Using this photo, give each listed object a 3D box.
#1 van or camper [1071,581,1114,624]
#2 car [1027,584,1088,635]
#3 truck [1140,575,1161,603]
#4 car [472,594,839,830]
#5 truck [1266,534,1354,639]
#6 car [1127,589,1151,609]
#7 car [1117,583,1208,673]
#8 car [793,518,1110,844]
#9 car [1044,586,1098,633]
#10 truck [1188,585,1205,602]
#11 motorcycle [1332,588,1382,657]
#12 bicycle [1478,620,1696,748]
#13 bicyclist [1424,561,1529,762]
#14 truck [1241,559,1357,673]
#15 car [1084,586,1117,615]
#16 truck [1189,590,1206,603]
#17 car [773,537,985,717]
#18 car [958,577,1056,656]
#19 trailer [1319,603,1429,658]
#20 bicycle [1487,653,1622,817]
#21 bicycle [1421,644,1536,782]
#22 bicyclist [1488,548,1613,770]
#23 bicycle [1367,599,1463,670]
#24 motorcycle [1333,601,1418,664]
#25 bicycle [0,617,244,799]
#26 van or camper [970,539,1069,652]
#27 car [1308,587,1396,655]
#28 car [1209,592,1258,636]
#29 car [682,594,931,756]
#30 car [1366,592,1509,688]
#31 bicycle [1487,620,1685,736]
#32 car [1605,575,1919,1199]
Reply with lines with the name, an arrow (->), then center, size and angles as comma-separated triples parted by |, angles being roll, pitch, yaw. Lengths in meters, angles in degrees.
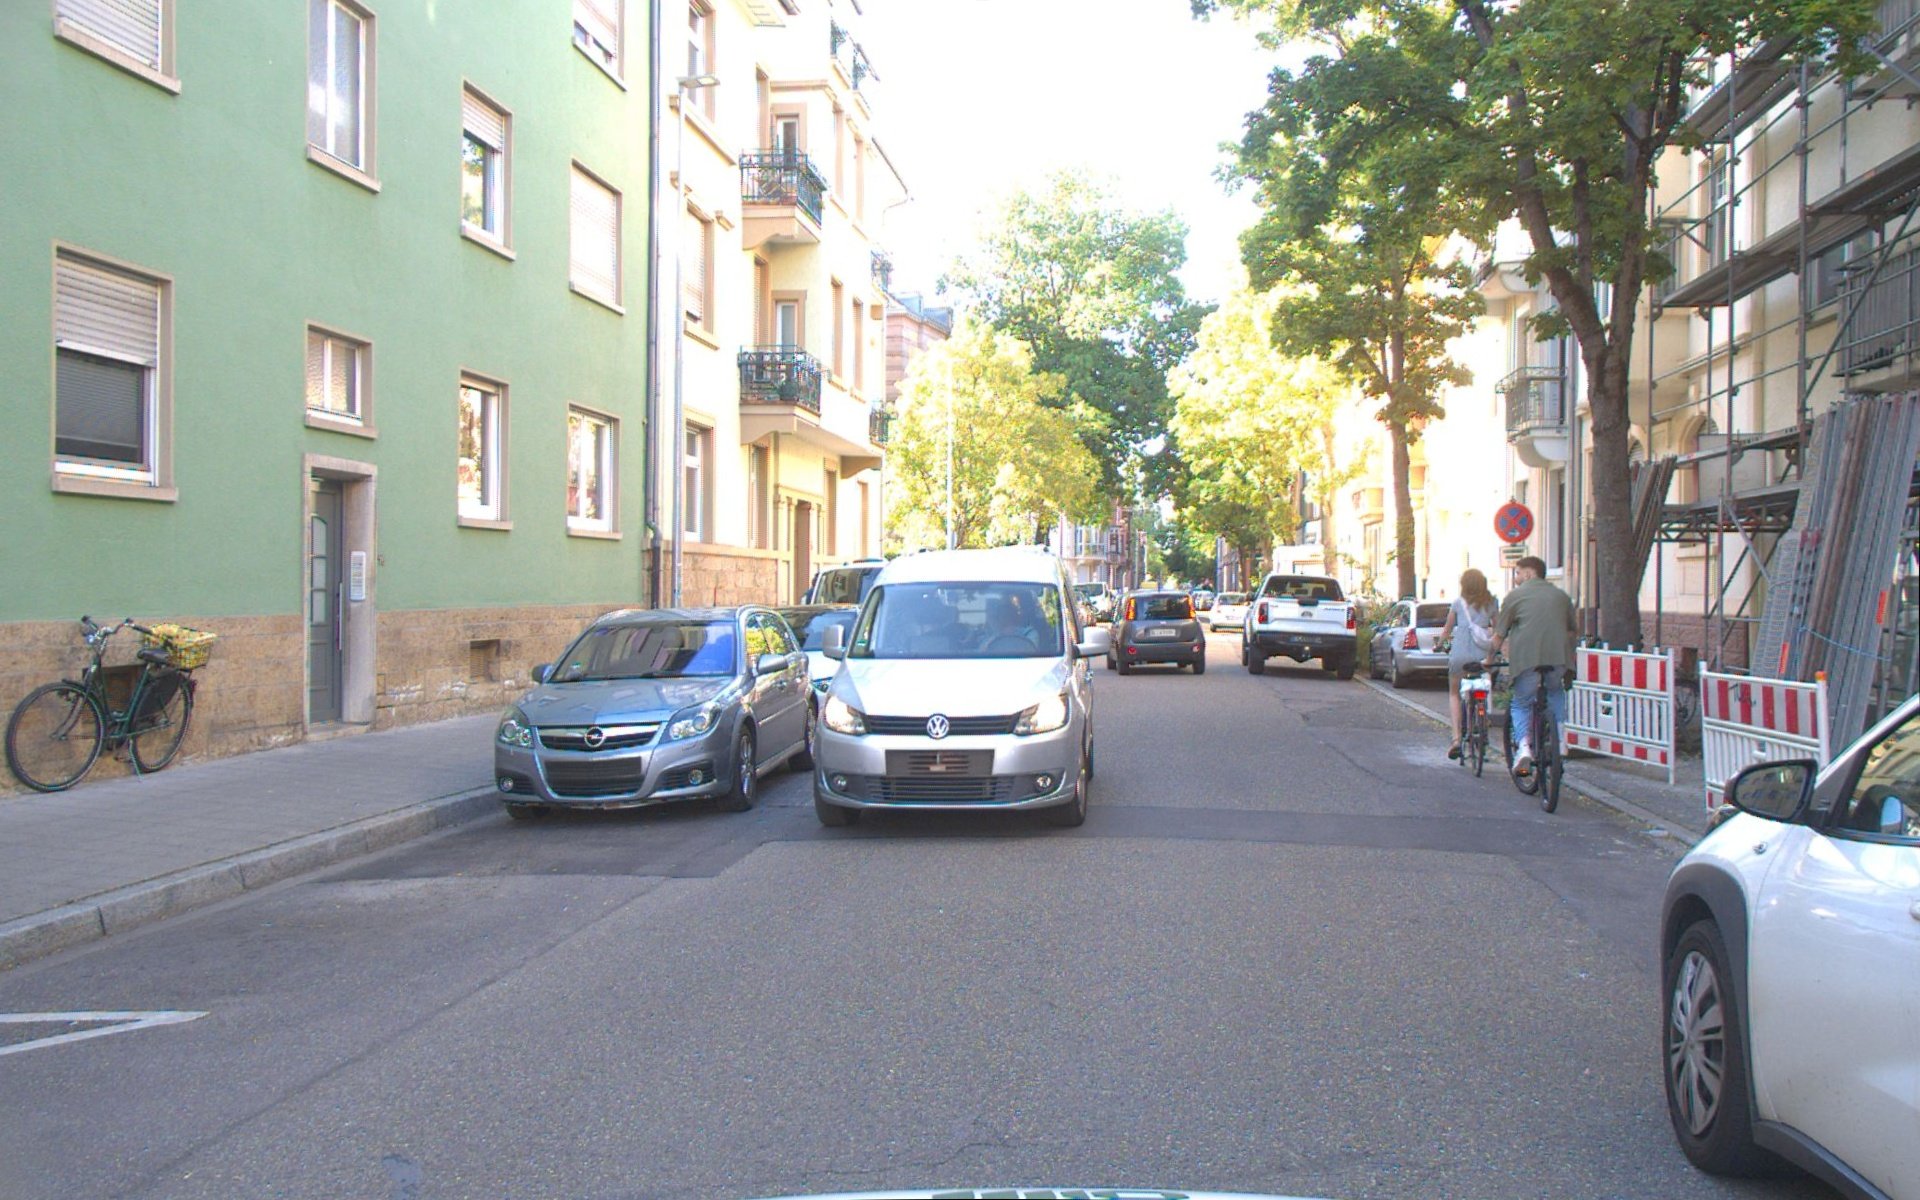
van or camper -> 6.648, 0.117, 82.742 | 1.881, 2.014, 5.466 | -3, 0, 6
car -> 3.334, 0.296, 55.888 | 1.742, 1.618, 4.472 | -2, 0, 7
truck -> 21.499, -1.217, 186.858 | 2.026, 2.977, 5.072 | -3, 0, 8
car -> -2.160, 0.727, 13.045 | 1.683, 1.488, 4.509 | -2, 0, 5
truck -> 10.858, -0.423, 51.734 | 2.029, 3.020, 6.114 | -2, 0, 7
car -> 14.593, -0.100, 134.655 | 1.758, 1.456, 3.928 | -3, 0, 8
car -> 3.795, 0.480, 31.087 | 1.598, 1.577, 3.267 | 0, 1, 7
car -> 0.138, 0.484, 11.955 | 1.733, 1.875, 4.419 | -2, 0, 6
car -> 4.182, 0.326, 62.040 | 1.640, 1.600, 4.155 | -3, 0, 8
truck -> 28.556, -0.837, 199.744 | 1.951, 2.026, 4.003 | 0, 1, 7
motorcycle -> 8.998, 0.480, 37.524 | 0.910, 1.512, 2.140 | 1, 0, 9
bicycle -> 6.189, 0.799, 16.376 | 1.892, 1.141, 0.744 | 1, 1, 38
bicyclist -> 4.631, 0.531, 14.892 | 0.699, 1.718, 0.982 | 3, 0, 10
truck -> 6.445, 0.247, 31.961 | 1.789, 1.983, 5.545 | 1, 1, 8
car -> 8.379, 0.029, 98.478 | 1.786, 1.581, 4.136 | -3, 0, 5
truck -> 27.895, -0.469, 194.400 | 1.951, 1.482, 4.003 | 0, 1, 7
car -> -0.999, 0.334, 23.656 | 2.204, 2.206, 5.247 | -2, 0, 5
car -> 1.185, 0.352, 39.399 | 1.835, 1.715, 4.973 | -2, 0, 7
trailer -> 8.900, 0.649, 35.600 | 2.040, 1.131, 1.114 | 1, 0, -6
bicycle -> 4.481, 0.975, 12.580 | 0.723, 1.078, 1.859 | 2, 0, 13
bicycle -> 4.599, 0.969, 14.781 | 0.691, 1.063, 1.859 | 3, 0, 10
bicyclist -> 4.473, 0.425, 12.589 | 0.739, 1.592, 0.982 | 2, 0, 13
bicycle -> 8.768, 0.655, 31.919 | 1.721, 1.328, 0.586 | 0, 0, 6
motorcycle -> 8.617, 0.660, 34.270 | 1.742, 1.262, 0.695 | 0, 0, -32
bicycle -> -5.758, 0.690, 11.431 | 0.476, 1.094, 1.971 | 4, 0, 7
van or camper -> 1.712, -0.144, 45.151 | 2.083, 2.817, 5.856 | -2, 0, 7
car -> 9.652, 0.479, 41.046 | 1.713, 1.556, 4.785 | -1, 0, 8
car -> 10.443, 0.518, 63.394 | 1.643, 1.571, 3.803 | 1, 1, 7
car -> -1.521, 0.720, 18.033 | 1.794, 1.488, 4.366 | -2, 0, 6
car -> 7.998, 0.619, 28.053 | 1.644, 1.447, 4.434 | -1, 0, 7
bicycle -> 6.690, 0.815, 17.774 | 1.935, 1.141, 0.748 | 1, 1, 18
car -> 2.686, 0.755, 3.286 | 1.764, 1.562, 3.967 | 1, 1, 9
